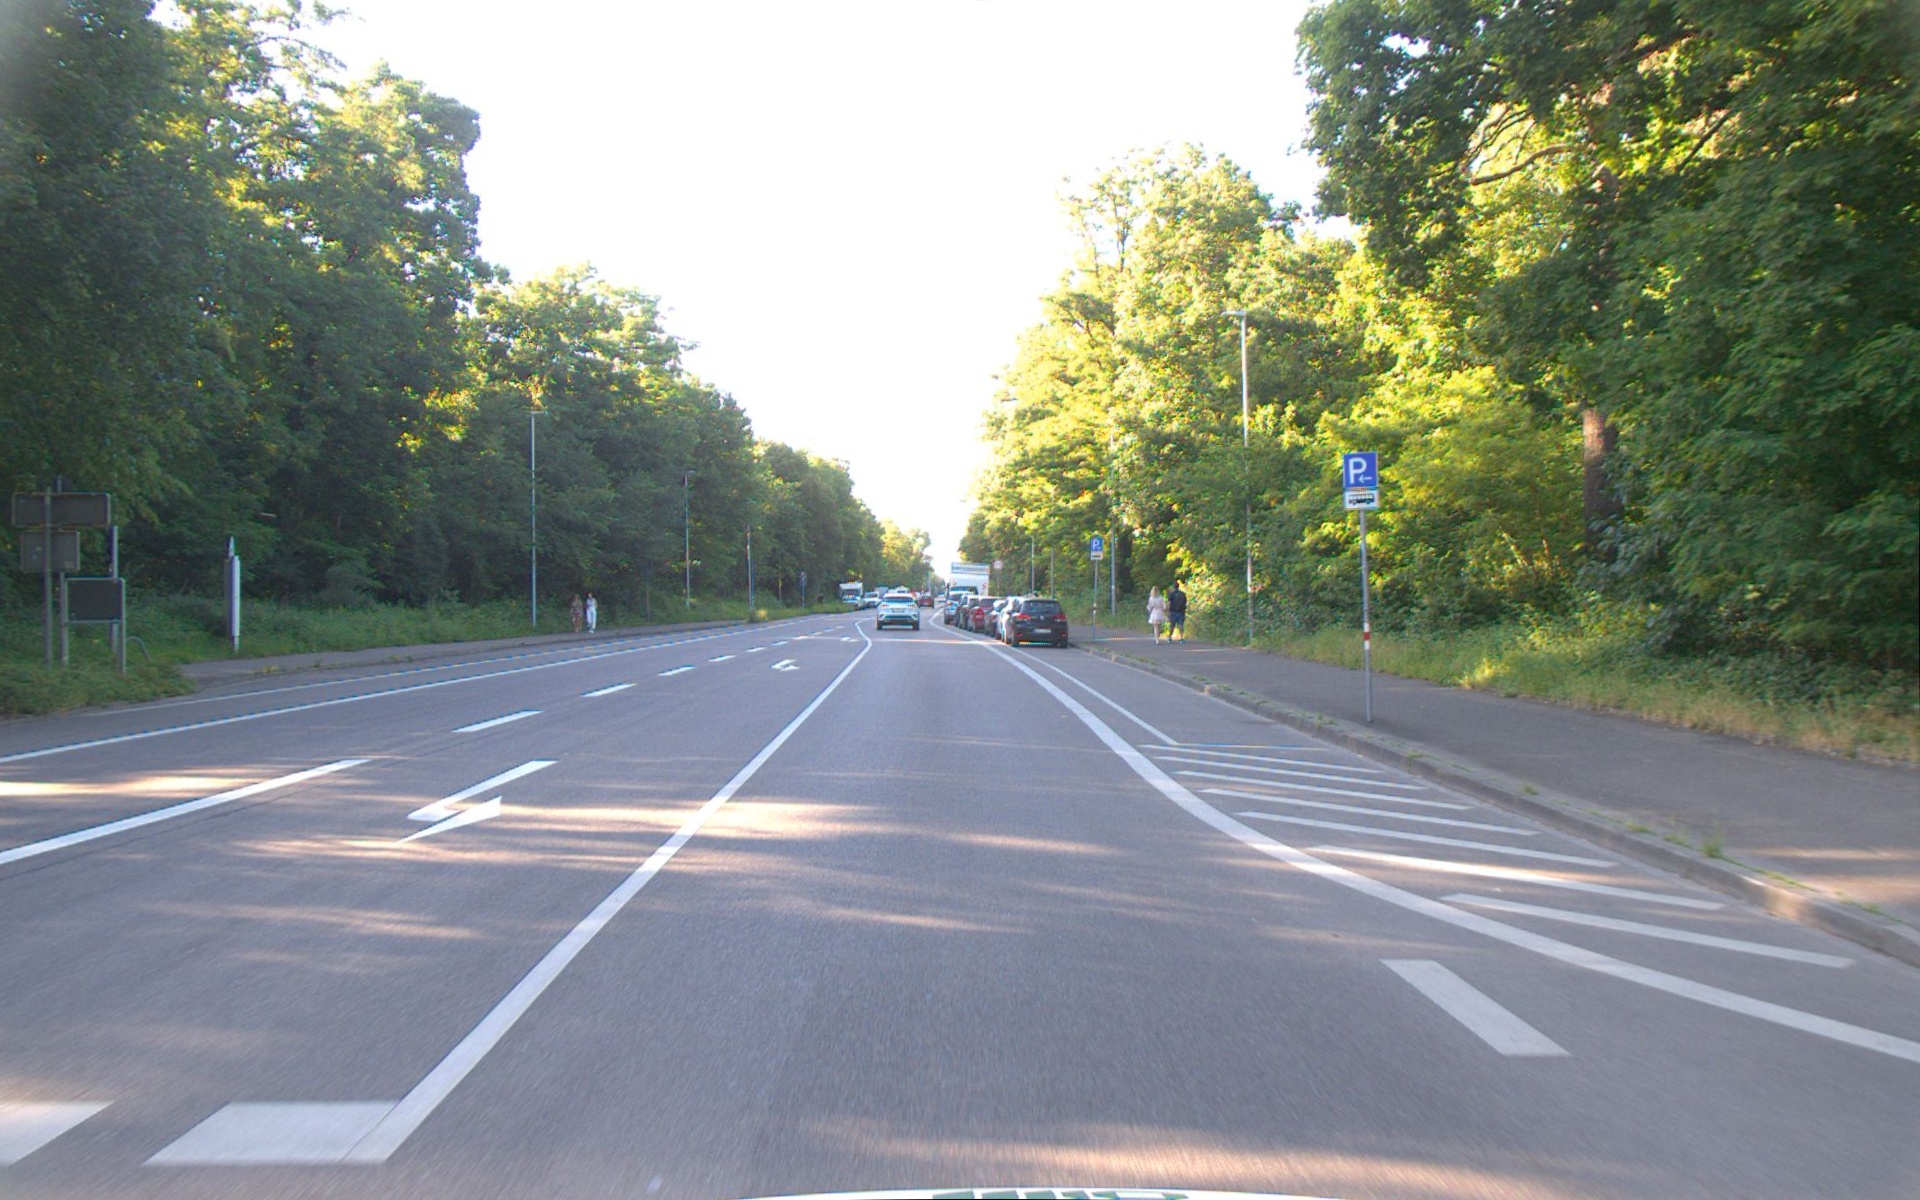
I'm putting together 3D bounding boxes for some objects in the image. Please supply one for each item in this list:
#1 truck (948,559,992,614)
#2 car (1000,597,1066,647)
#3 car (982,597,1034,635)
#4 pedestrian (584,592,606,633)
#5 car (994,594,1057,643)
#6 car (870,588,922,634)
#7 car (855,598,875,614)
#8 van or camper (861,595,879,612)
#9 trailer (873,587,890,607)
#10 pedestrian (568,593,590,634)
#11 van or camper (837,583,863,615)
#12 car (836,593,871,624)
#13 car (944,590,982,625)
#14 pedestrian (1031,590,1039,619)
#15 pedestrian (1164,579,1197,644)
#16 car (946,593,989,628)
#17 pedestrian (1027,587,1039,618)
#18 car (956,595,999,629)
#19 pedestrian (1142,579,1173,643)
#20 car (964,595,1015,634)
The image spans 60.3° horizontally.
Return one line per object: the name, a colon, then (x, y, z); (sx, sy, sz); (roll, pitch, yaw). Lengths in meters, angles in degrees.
truck: (0.619, -0.887, 111.126); (2.775, 3.559, 8.576); (-1, 0, -1)
car: (2.240, 0.646, 51.467); (1.624, 1.477, 4.017); (-1, 0, -4)
car: (1.757, 0.588, 61.401); (1.596, 1.342, 3.838); (1, 0, -4)
pedestrian: (-14.958, 0.503, 67.853); (0.660, 1.682, 0.790); (0, 0, 4)
car: (2.163, 0.592, 55.911); (1.702, 1.551, 4.357); (-1, 0, -3)
car: (-2.677, 0.446, 69.903); (1.987, 1.872, 4.029); (-1, 0, 0)
car: (-9.053, 0.579, 157.406); (1.791, 1.501, 4.678); (-2, 0, -3)
van or camper: (-10.742, 0.402, 197.877); (1.798, 1.945, 4.855); (-2, 0, -1)
trailer: (-10.479, -0.395, 220.886); (1.953, 2.643, 4.415); (-3, 0, 0)
pedestrian: (-15.628, 0.543, 67.900); (0.660, 1.682, 0.790); (0, 0, 4)
van or camper: (-10.910, -0.132, 165.040); (2.268, 3.021, 7.108); (-3, 0, -2)
car: (-5.671, 0.447, 88.493); (1.771, 1.545, 4.502); (2, 0, -3)
car: (0.162, 0.329, 80.080); (1.762, 1.623, 4.029); (-1, 0, 0)
pedestrian: (4.229, 0.231, 92.900); (0.386, 1.616, 0.482); (-1, 0, -1)
pedestrian: (6.424, 0.335, 48.195); (0.662, 1.830, 0.952); (-2, 0, -6)
car: (0.308, 0.454, 77.967); (1.771, 1.545, 4.502); (2, 0, -3)
pedestrian: (4.273, 0.134, 97.016); (0.605, 1.795, 0.906); (-1, 0, -1)
car: (0.729, 0.507, 72.823); (1.563, 1.426, 3.795); (1, 0, -4)
pedestrian: (5.740, 0.316, 48.043); (0.662, 1.830, 0.789); (-2, 0, -6)
car: (1.176, 0.585, 67.052); (1.585, 1.494, 3.720); (2, 0, -6)
